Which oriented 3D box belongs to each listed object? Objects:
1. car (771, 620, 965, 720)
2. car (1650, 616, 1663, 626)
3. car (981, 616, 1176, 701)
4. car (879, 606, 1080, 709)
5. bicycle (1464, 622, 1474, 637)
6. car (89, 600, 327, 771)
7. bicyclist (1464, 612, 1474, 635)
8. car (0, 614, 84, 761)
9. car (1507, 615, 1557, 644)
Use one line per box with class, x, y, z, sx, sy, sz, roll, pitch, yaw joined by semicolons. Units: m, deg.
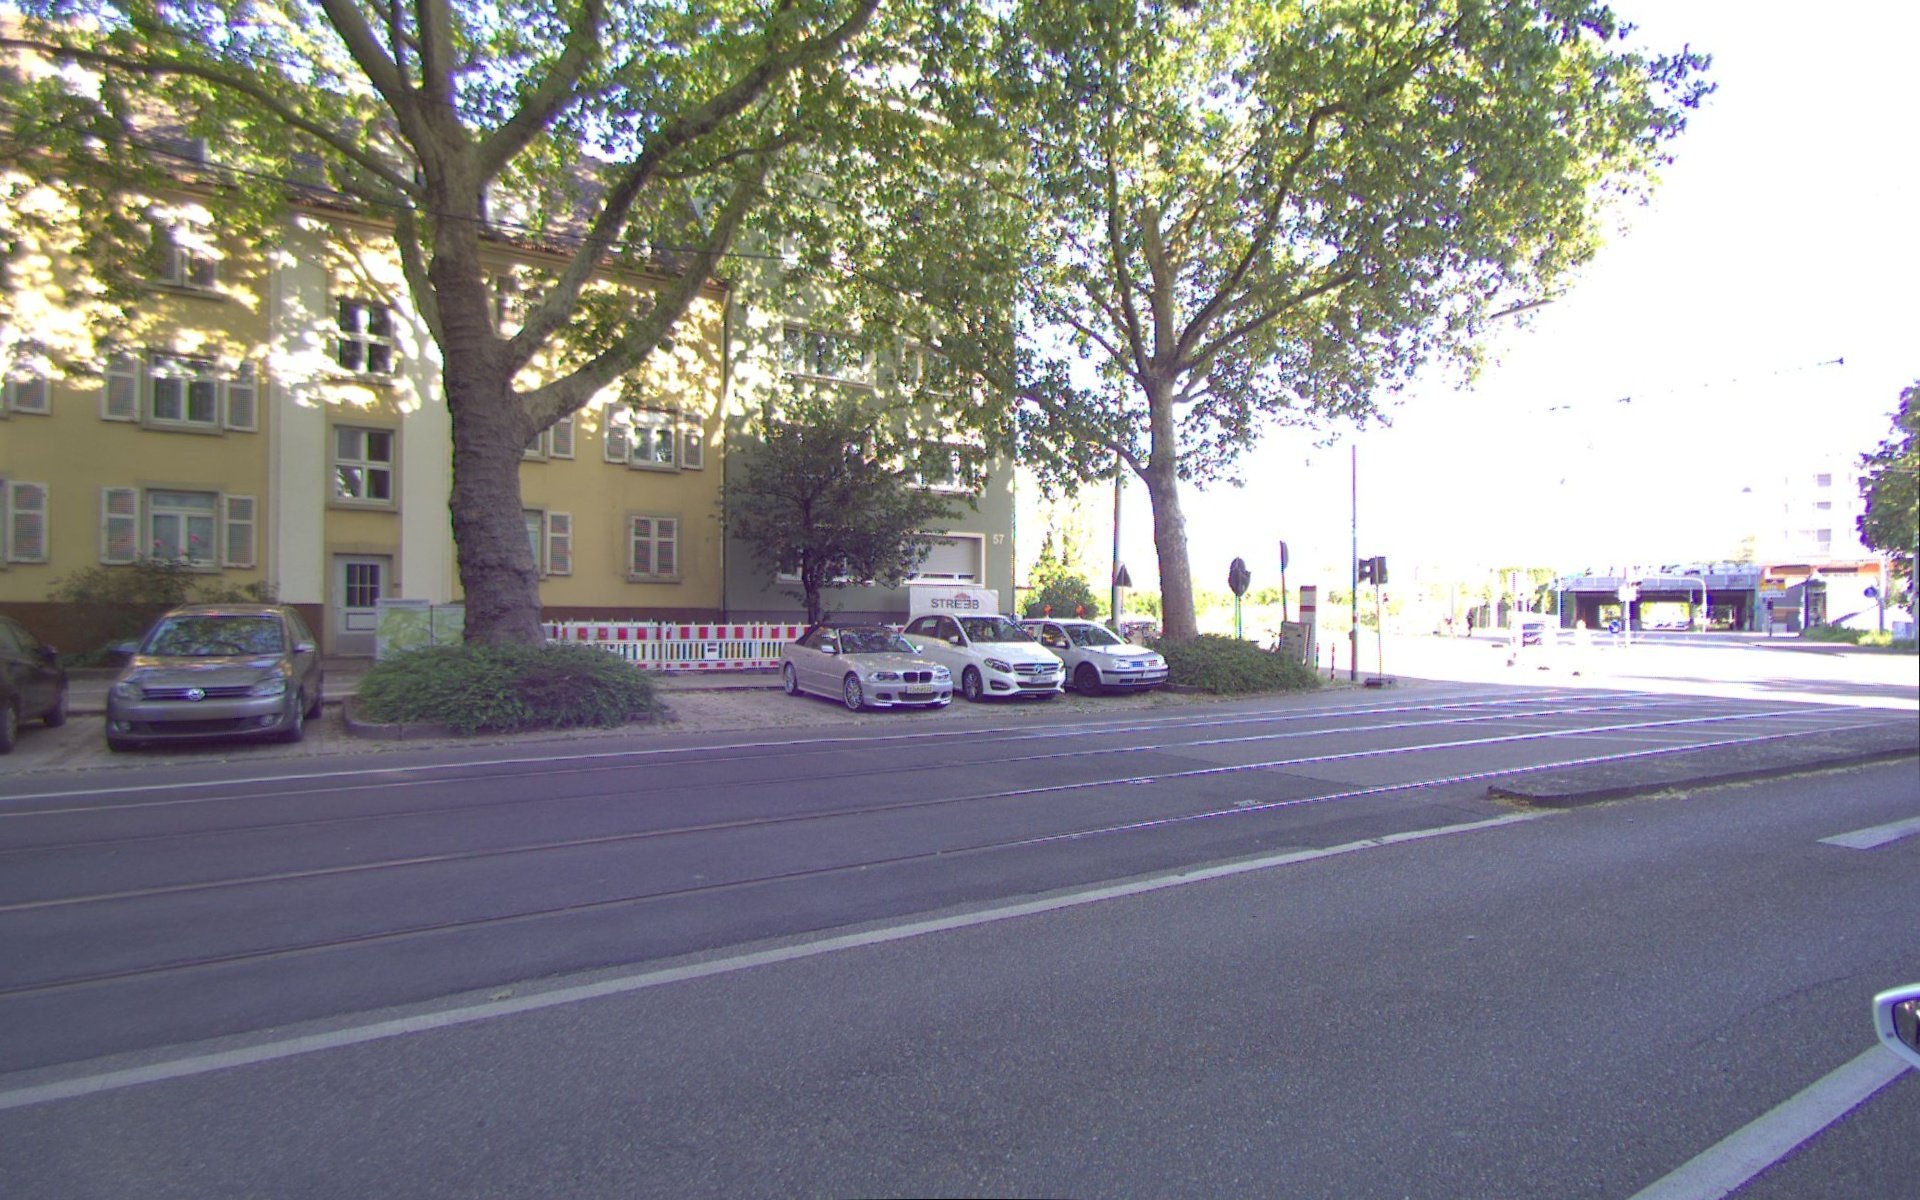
car;-1.725;1.105;17.434;1.708;1.386;4.219;1;0;-31
car;143.660;4.331;207.158;2.183;1.847;4.134;0;-1;34
car;2.305;1.115;20.823;1.656;1.448;4.490;1;0;-30
car;0.225;1.003;19.478;1.777;1.640;4.587;1;1;-30
bicycle;35.974;2.064;71.010;0.572;1.075;2.039;0;-1;28
car;-9.033;0.879;12.425;1.793;1.627;4.169;1;1;-29
bicyclist;35.971;1.652;70.987;0.625;1.584;0.832;0;-1;28
car;-11.390;0.903;11.297;1.723;1.448;3.545;1;0;-31
car;32.438;1.656;56.938;1.803;1.539;3.876;2;0;40
